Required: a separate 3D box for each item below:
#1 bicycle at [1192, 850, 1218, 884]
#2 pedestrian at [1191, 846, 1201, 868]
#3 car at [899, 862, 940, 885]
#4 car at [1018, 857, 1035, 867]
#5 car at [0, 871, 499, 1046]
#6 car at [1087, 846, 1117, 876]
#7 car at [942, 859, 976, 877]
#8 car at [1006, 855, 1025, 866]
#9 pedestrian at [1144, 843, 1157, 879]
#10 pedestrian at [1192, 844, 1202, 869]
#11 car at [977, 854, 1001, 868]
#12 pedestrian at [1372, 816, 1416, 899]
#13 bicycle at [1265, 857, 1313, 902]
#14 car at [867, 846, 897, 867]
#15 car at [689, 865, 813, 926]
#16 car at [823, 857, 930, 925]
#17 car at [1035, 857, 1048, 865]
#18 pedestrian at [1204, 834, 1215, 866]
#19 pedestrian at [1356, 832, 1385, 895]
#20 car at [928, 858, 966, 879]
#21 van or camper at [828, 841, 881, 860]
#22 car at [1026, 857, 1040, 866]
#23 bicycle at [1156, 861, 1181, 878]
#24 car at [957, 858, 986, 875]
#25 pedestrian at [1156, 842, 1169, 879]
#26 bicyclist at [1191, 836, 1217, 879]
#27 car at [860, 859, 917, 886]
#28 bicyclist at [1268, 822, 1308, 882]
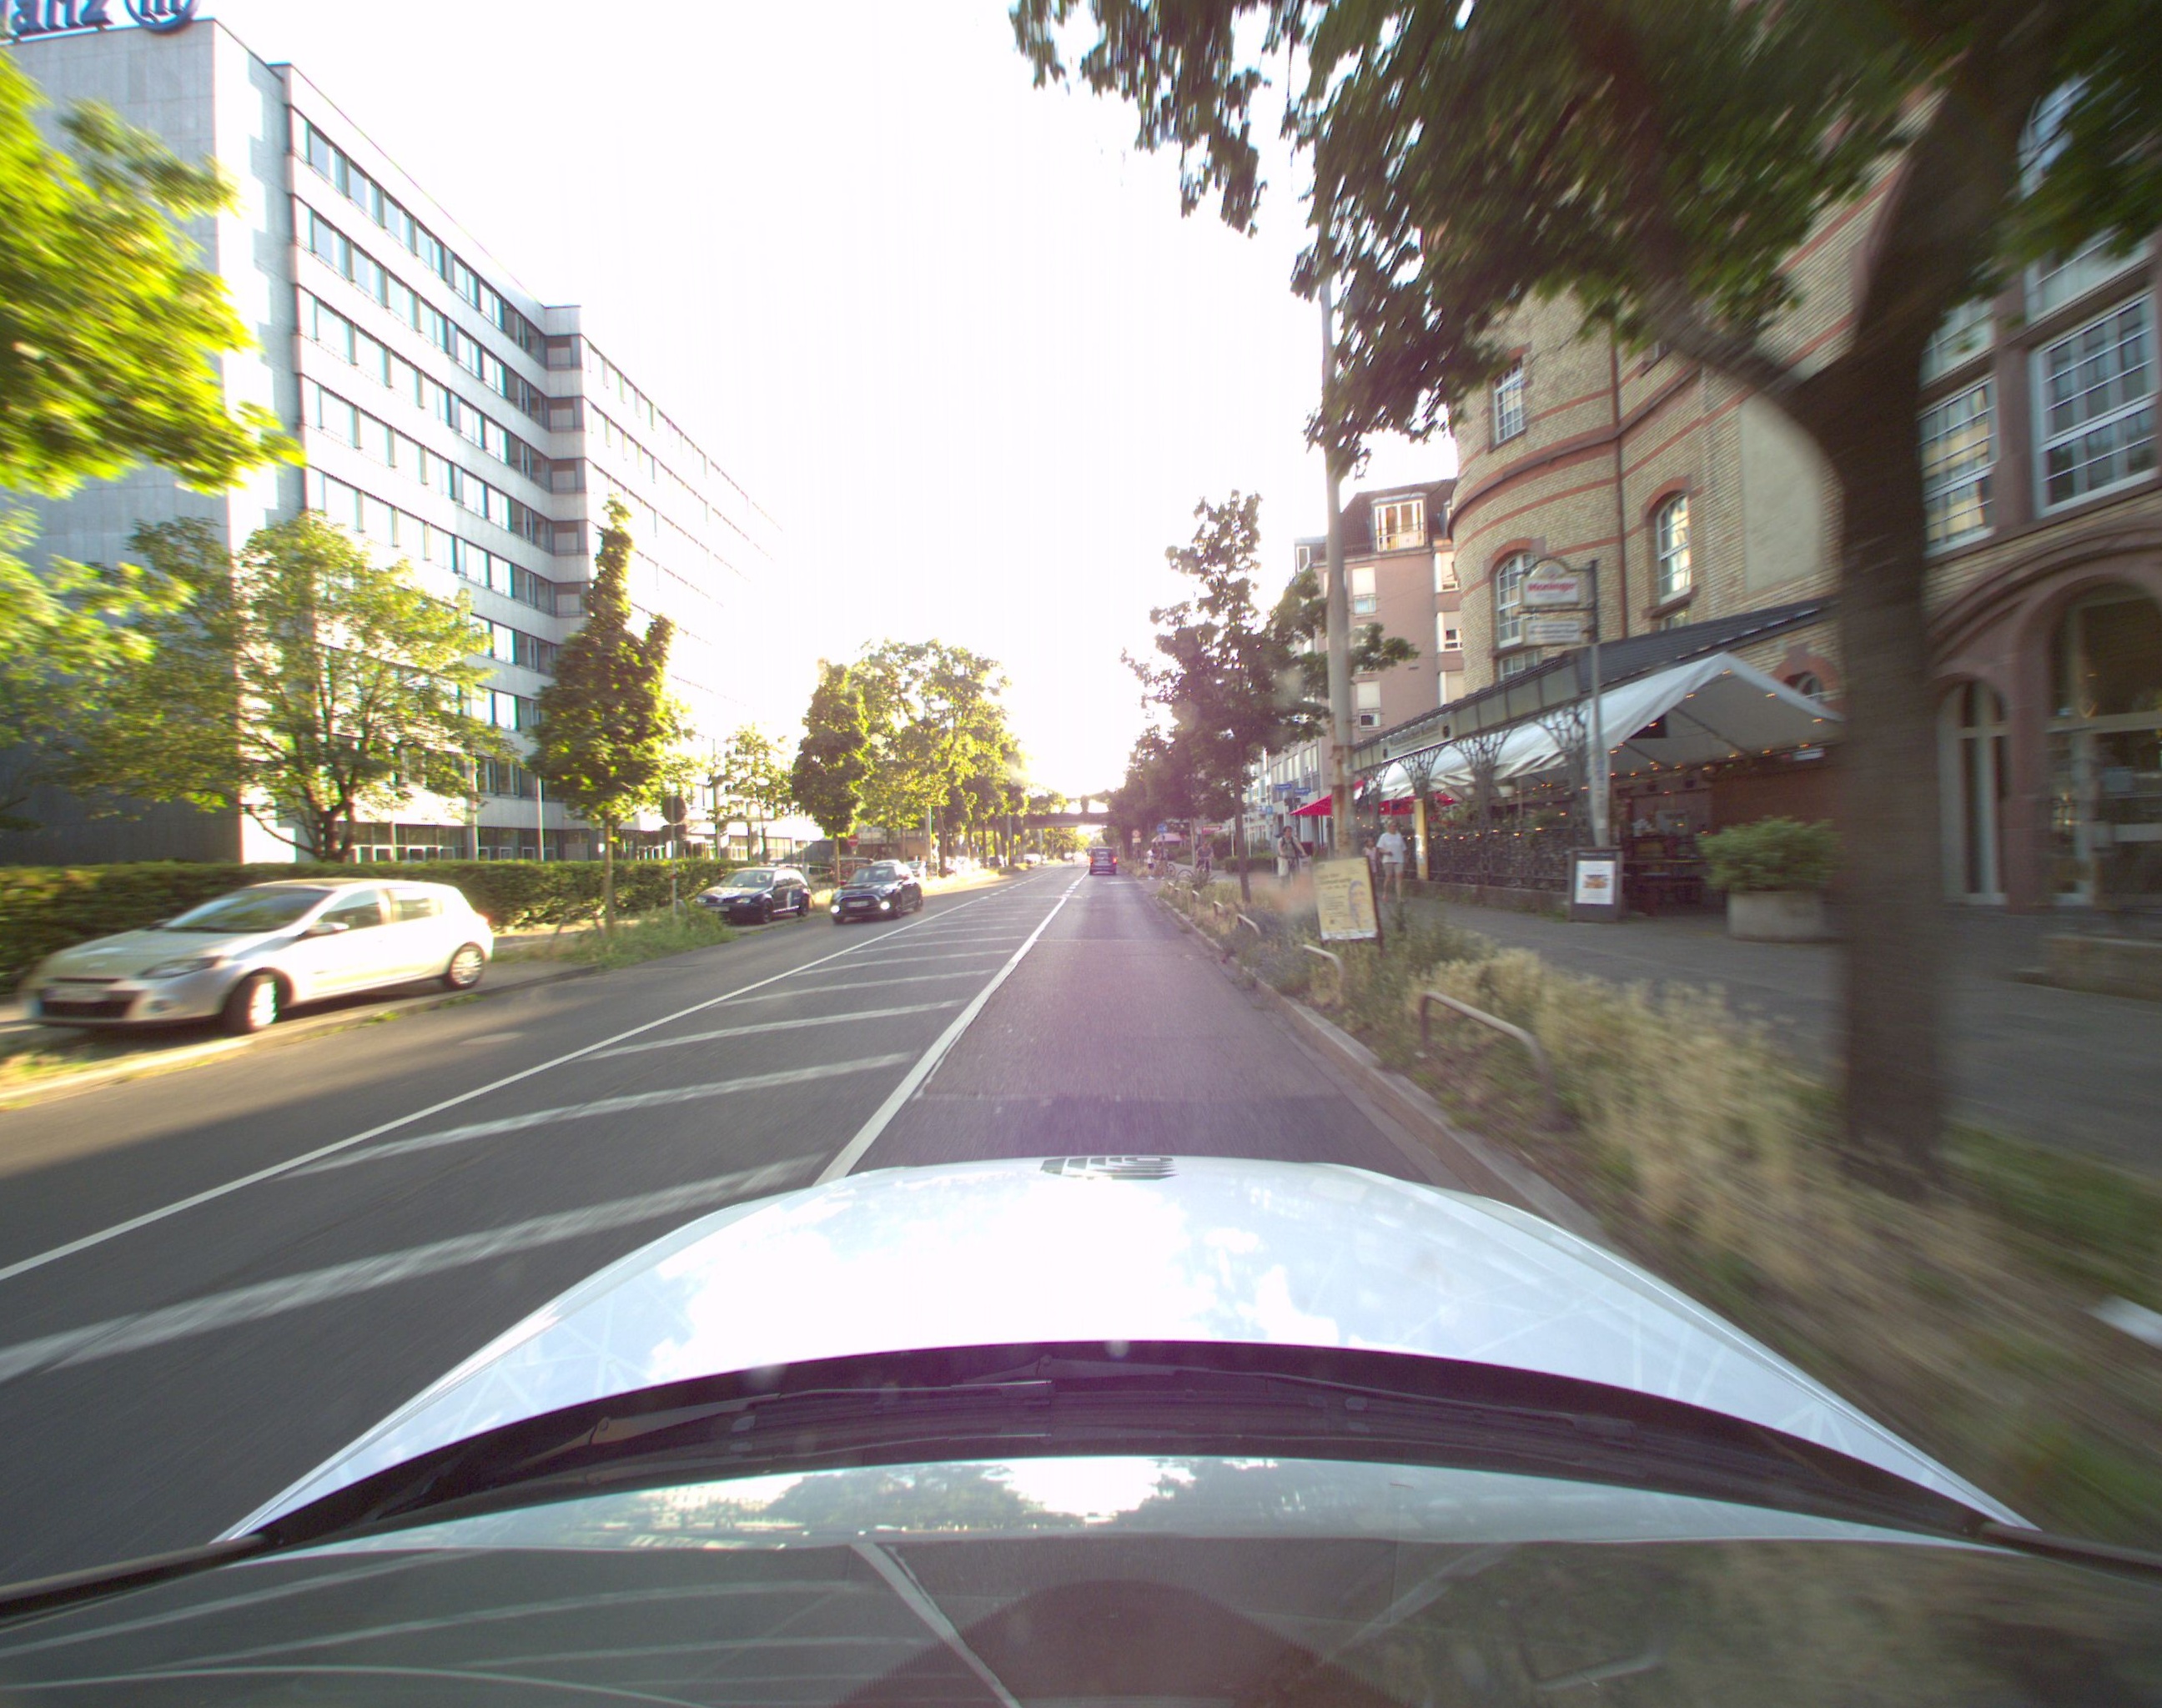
[{"bbox_3d":[4.586,0.466,30.271,0.545,1.226,1.984,-1,0,-4],"label":"bicycle"},{"bbox_3d":[9.605,0.266,68.137,0.712,1.818,0.615,-1,0,1],"label":"pedestrian"},{"bbox_3d":[-10.009,1.166,50.758,1.665,1.314,3.966,-1,0,2],"label":"car"},{"bbox_3d":[-8.083,1.118,121.037,1.986,1.414,4.238,-1,0,2],"label":"car"},{"bbox_3d":[-8.964,0.983,9.310,1.691,1.451,4.000,-1,0,1],"label":"car"},{"bbox_3d":[1.509,0.464,57.076,1.880,1.925,3.842,-3,0,2],"label":"car"},{"bbox_3d":[-9.917,1.136,66.656,1.986,1.414,4.238,-1,0,2],"label":"car"},{"bbox_3d":[-8.211,0.816,102.592,1.986,1.414,4.238,0,0,2],"label":"car"},{"bbox_3d":[3.702,0.371,43.409,0.505,1.888,0.543,0,0,-13],"label":"pedestrian"},{"bbox_3d":[9.597,0.227,67.330,0.712,2.041,0.615,-1,0,1],"label":"pedestrian"},{"bbox_3d":[-9.828,0.774,87.517,1.986,1.414,4.238,-1,0,2],"label":"car"},{"bbox_3d":[6.251,0.069,16.287,0.642,1.633,0.656,-1,0,2],"label":"pedestrian"},{"bbox_3d":[4.454,0.521,17.568,0.577,0.897,1.988,-1,0,2],"label":"bicycle"},{"bbox_3d":[-22.768,0.277,93.262,1.986,2.307,5.247,-1,0,2],"label":"car"},{"bbox_3d":[-8.670,1.033,21.761,1.632,1.385,4.000,-1,0,1],"label":"car"},{"bbox_3d":[-5.377,0.916,21.934,1.673,1.530,4.001,-4,0,1],"label":"car"},{"bbox_3d":[-7.406,1.333,153.126,1.986,1.414,4.238,-1,0,2],"label":"car"},{"bbox_3d":[10.380,-0.328,65.858,0.712,2.539,0.824,-1,0,1],"label":"pedestrian"},{"bbox_3d":[6.293,0.206,17.715,0.465,1.350,0.530,-1,0,2],"label":"pedestrian"},{"bbox_3d":[-9.939,1.065,60.838,1.986,1.414,4.238,-1,0,2],"label":"car"},{"bbox_3d":[-30.864,-0.507,111.173,6.542,2.522,2.449,-1,0,-1],"label":"van or camper"},{"bbox_3d":[-7.900,1.217,135.196,1.986,1.414,4.238,-1,0,2],"label":"car"},{"bbox_3d":[4.705,0.813,43.791,0.590,0.897,1.975,-1,0,-18],"label":"bicycle"},{"bbox_3d":[-9.841,1.114,73.472,1.986,1.414,4.238,-1,0,2],"label":"car"},{"bbox_3d":[4.293,0.341,42.958,0.505,1.888,0.543,0,0,-13],"label":"pedestrian"},{"bbox_3d":[4.572,0.129,30.274,0.750,1.558,0.937,-1,0,-3],"label":"bicyclist"},{"bbox_3d":[-10.216,0.933,43.499,1.986,1.310,4.067,-1,0,2],"label":"car"},{"bbox_3d":[4.424,-0.048,17.432,0.583,1.236,1.112,-1,0,1],"label":"bicyclist"}]
